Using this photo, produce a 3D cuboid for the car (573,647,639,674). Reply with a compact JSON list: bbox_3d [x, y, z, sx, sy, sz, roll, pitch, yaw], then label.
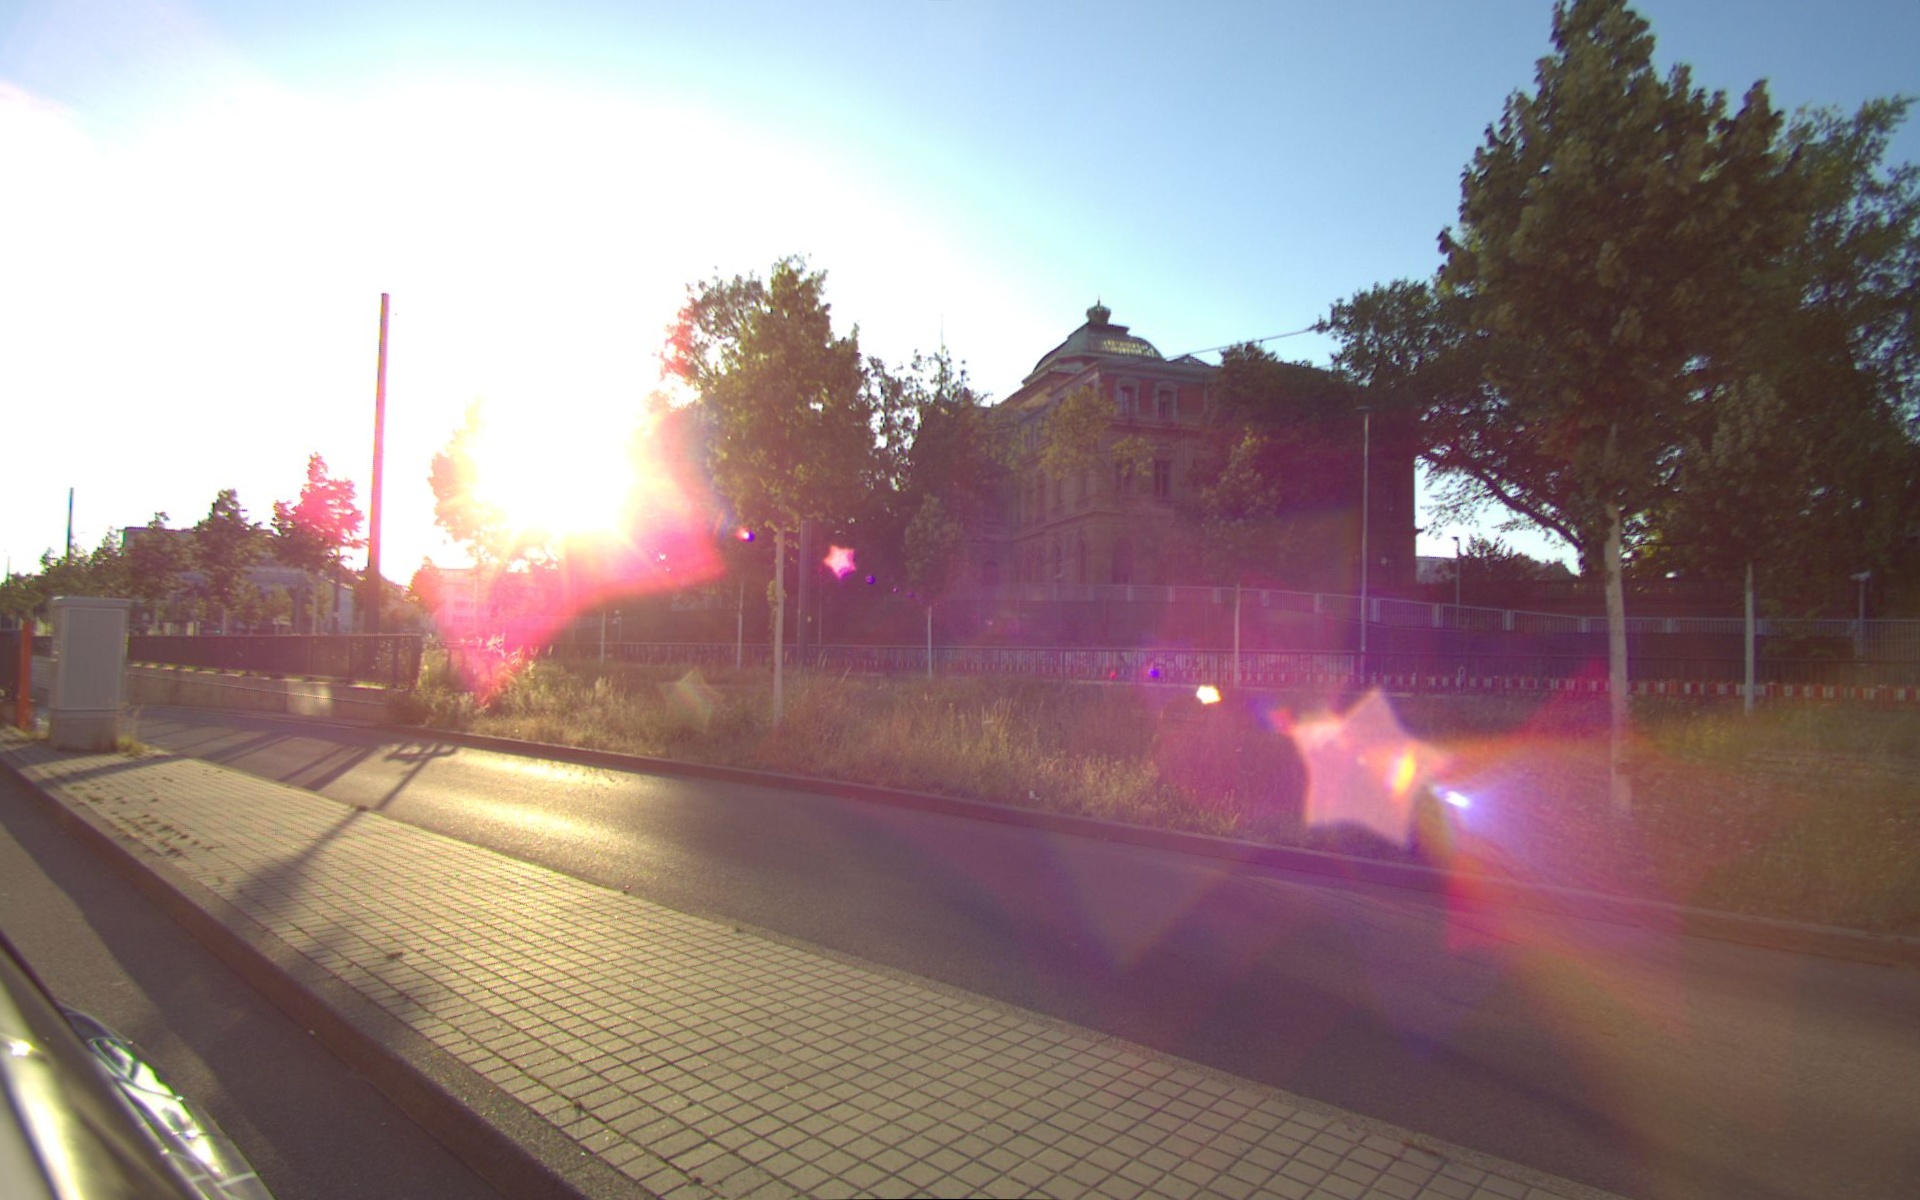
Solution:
[{"bbox_3d":[-21.194,3.618,60.445,4.523,1.492,1.910,-4,-4,44],"label":"car"}]
